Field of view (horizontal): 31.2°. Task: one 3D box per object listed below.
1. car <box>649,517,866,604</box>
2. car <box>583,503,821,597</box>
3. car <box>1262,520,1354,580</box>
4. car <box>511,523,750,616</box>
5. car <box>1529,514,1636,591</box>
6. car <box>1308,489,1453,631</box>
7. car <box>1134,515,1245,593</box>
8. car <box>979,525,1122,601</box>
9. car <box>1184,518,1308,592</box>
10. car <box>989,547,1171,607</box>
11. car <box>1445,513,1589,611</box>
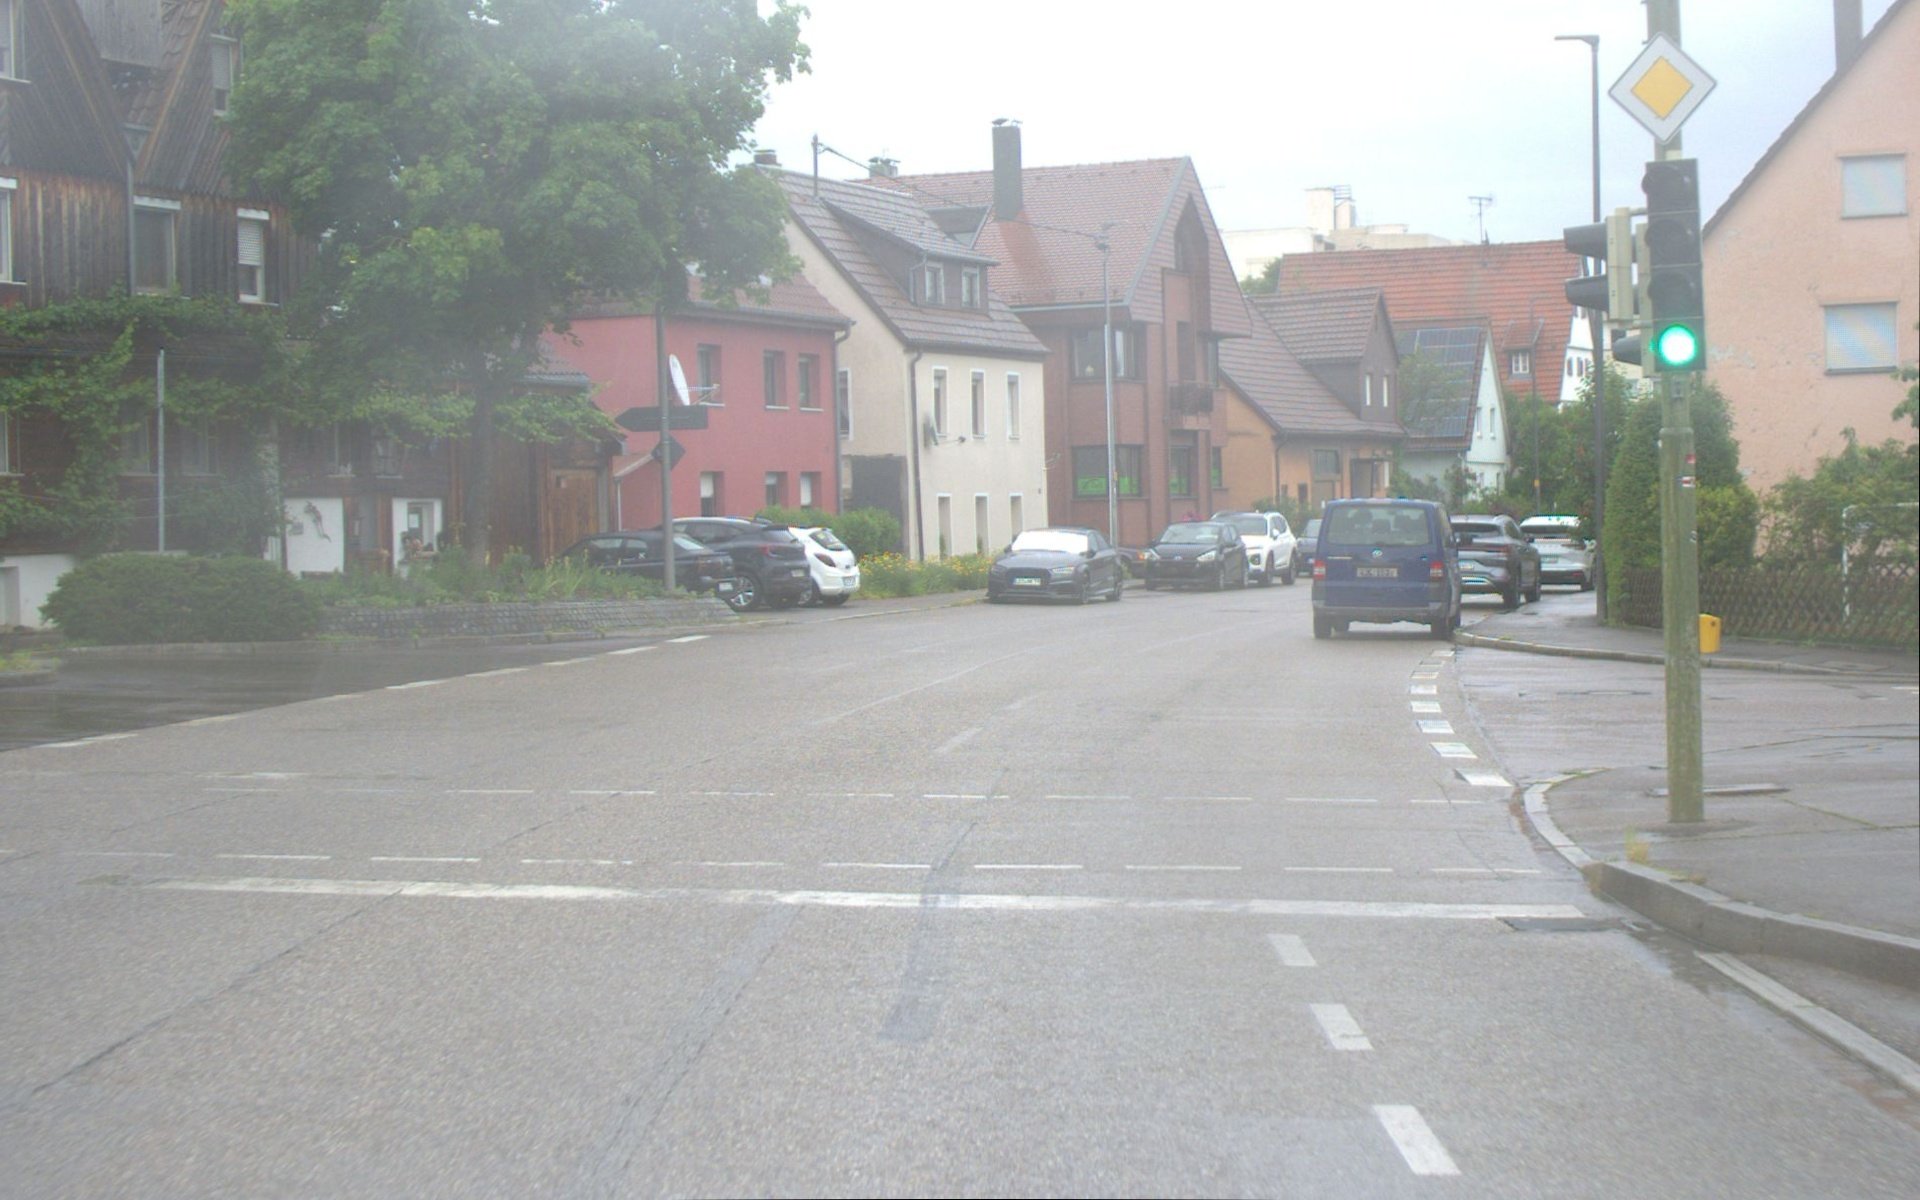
[{"bbox_3d":[-3.571,-0.702,60.840,3.464,1.474,1.589,-1,1,20],"label":"car"},{"bbox_3d":[-4.398,-0.871,58.638,3.580,1.501,1.853,2,2,22],"label":"car"},{"bbox_3d":[8.919,-1.290,87.986,1.580,1.492,3.564,-1,1,18],"label":"car"},{"bbox_3d":[-5.330,-0.493,55.652,3.449,1.413,1.631,-1,1,20],"label":"car"},{"bbox_3d":[13.276,-1.024,73.112,1.804,1.589,4.608,1,1,16],"label":"car"},{"bbox_3d":[6.024,-0.595,48.979,1.931,1.896,4.792,1,1,8],"label":"car"},{"bbox_3d":[4.980,-1.002,74.272,1.606,1.612,3.273,-1,1,18],"label":"car"},{"bbox_3d":[1.735,-0.715,64.371,1.628,1.351,4.107,1,2,17],"label":"car"},{"bbox_3d":[6.584,-1.052,78.731,1.766,1.613,4.652,-1,1,18],"label":"car"},{"bbox_3d":[3.004,-0.578,86.401,4.177,1.398,1.787,-1,1,25],"label":"car"},{"bbox_3d":[10.356,-0.726,63.662,1.910,1.711,4.552,2,2,18],"label":"car"}]
